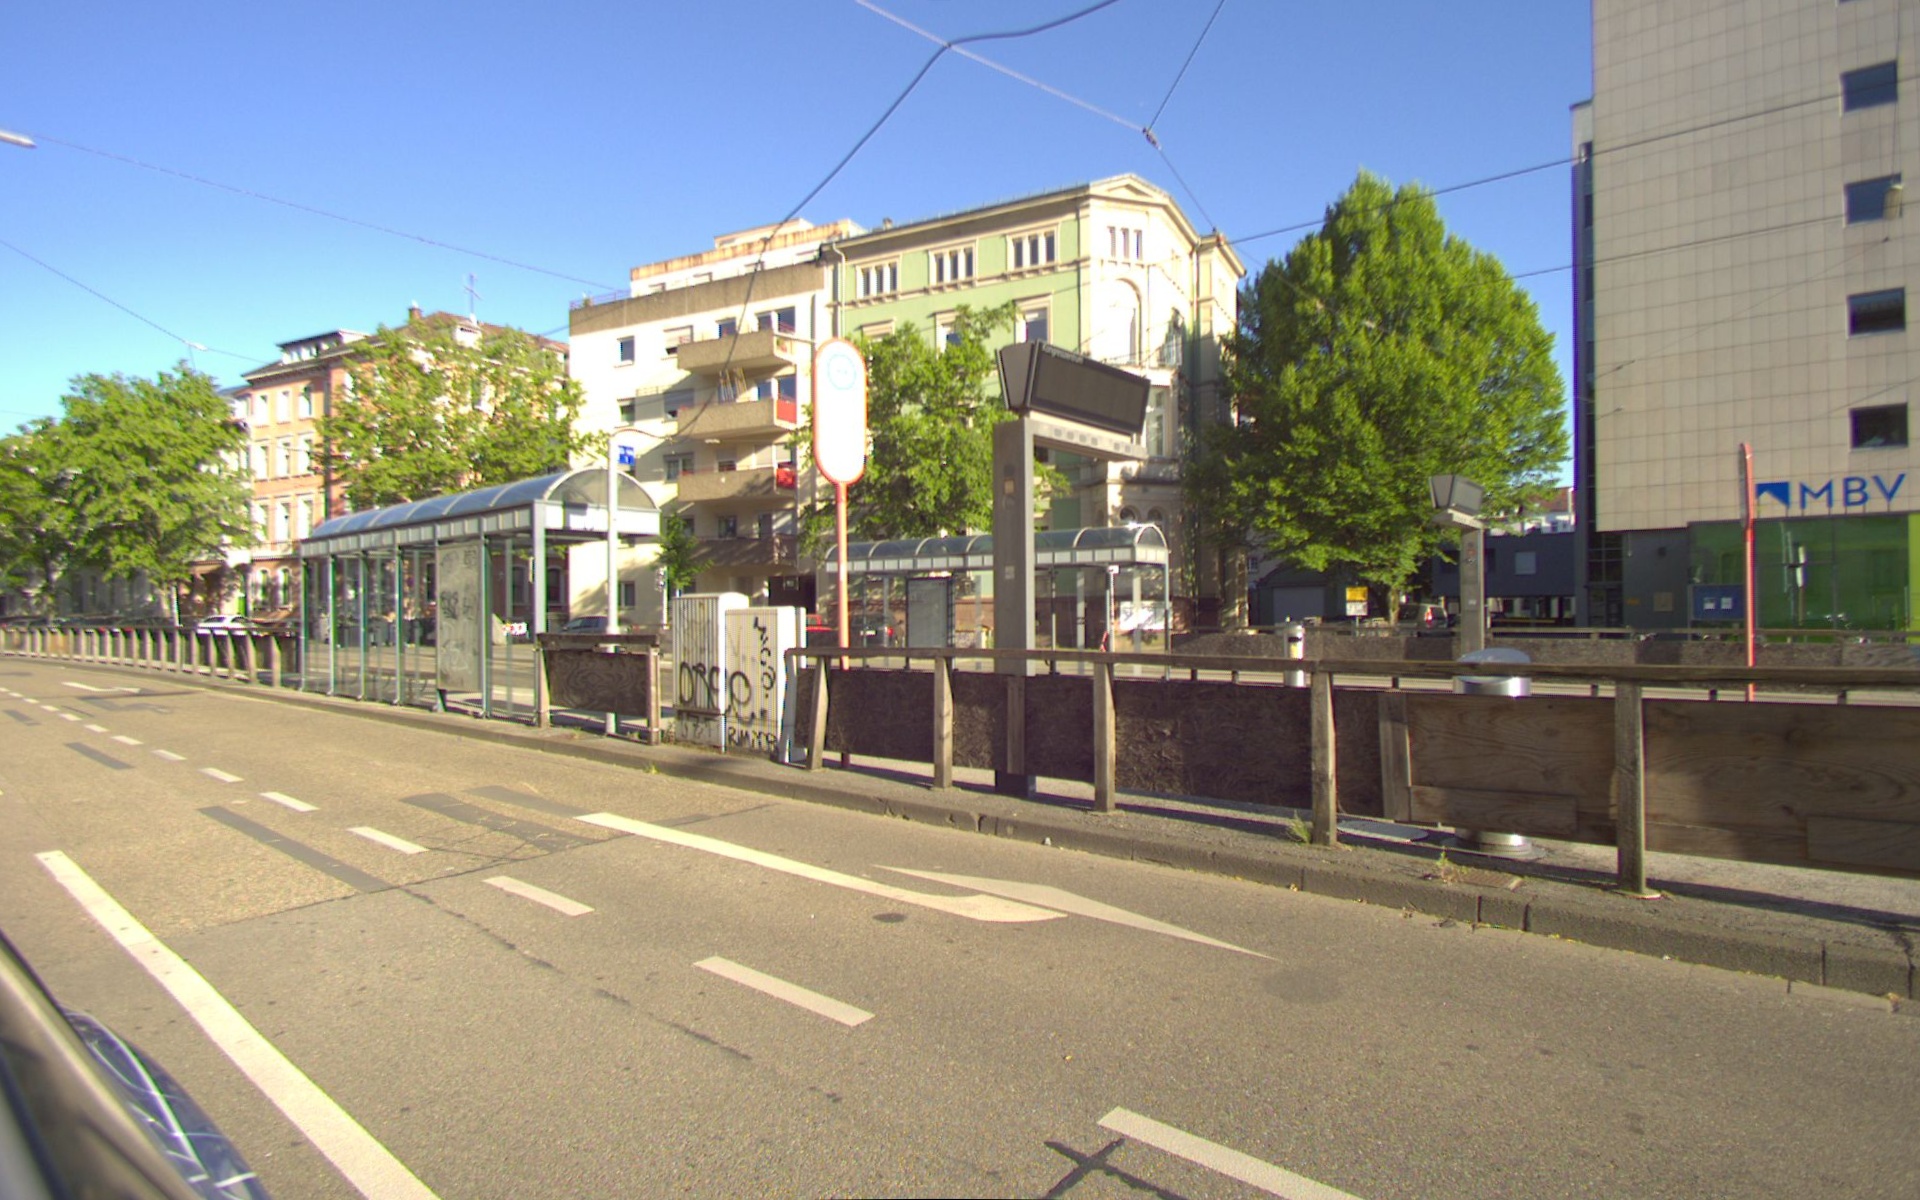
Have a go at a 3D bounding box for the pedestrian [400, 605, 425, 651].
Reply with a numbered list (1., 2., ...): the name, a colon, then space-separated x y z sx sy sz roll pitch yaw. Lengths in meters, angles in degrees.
1. pedestrian: -27.143 1.389 50.185 0.753 2.224 0.804 -1 -2 30

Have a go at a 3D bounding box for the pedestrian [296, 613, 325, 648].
1. pedestrian: -32.167 1.514 50.132 1.016 1.733 0.846 -1 -2 32

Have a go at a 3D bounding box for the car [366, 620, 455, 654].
1. car: -23.736 1.588 43.682 3.986 1.407 1.592 -1 -2 32

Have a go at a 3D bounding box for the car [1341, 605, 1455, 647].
1. car: 15.737 0.896 36.488 1.544 1.423 3.430 -1 0 -38

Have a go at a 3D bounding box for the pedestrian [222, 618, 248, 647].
1. pedestrian: -42.089 1.896 58.751 0.887 1.641 0.861 -1 -2 25

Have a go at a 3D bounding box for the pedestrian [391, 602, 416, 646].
1. pedestrian: -27.890 1.202 50.729 0.753 2.224 0.804 -1 -2 30

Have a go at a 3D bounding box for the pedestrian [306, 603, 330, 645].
1. pedestrian: -34.155 1.283 53.839 0.755 2.224 0.803 -1 -2 36

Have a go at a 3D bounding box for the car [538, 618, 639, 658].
1. car: -14.179 1.431 38.618 3.725 1.438 1.637 -1 -1 29

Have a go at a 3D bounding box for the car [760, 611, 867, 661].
1. car: -4.920 1.204 34.519 1.754 1.594 3.965 -1 -1 26

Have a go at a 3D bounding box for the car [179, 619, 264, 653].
1. car: -39.554 1.897 54.312 1.825 1.721 4.130 0 -1 -5

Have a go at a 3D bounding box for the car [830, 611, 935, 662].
1. car: -2.486 1.172 33.471 1.754 1.594 3.965 -1 -1 26

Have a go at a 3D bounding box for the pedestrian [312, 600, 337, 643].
1. pedestrian: -33.159 1.111 52.800 0.753 2.224 0.804 -1 -2 30
